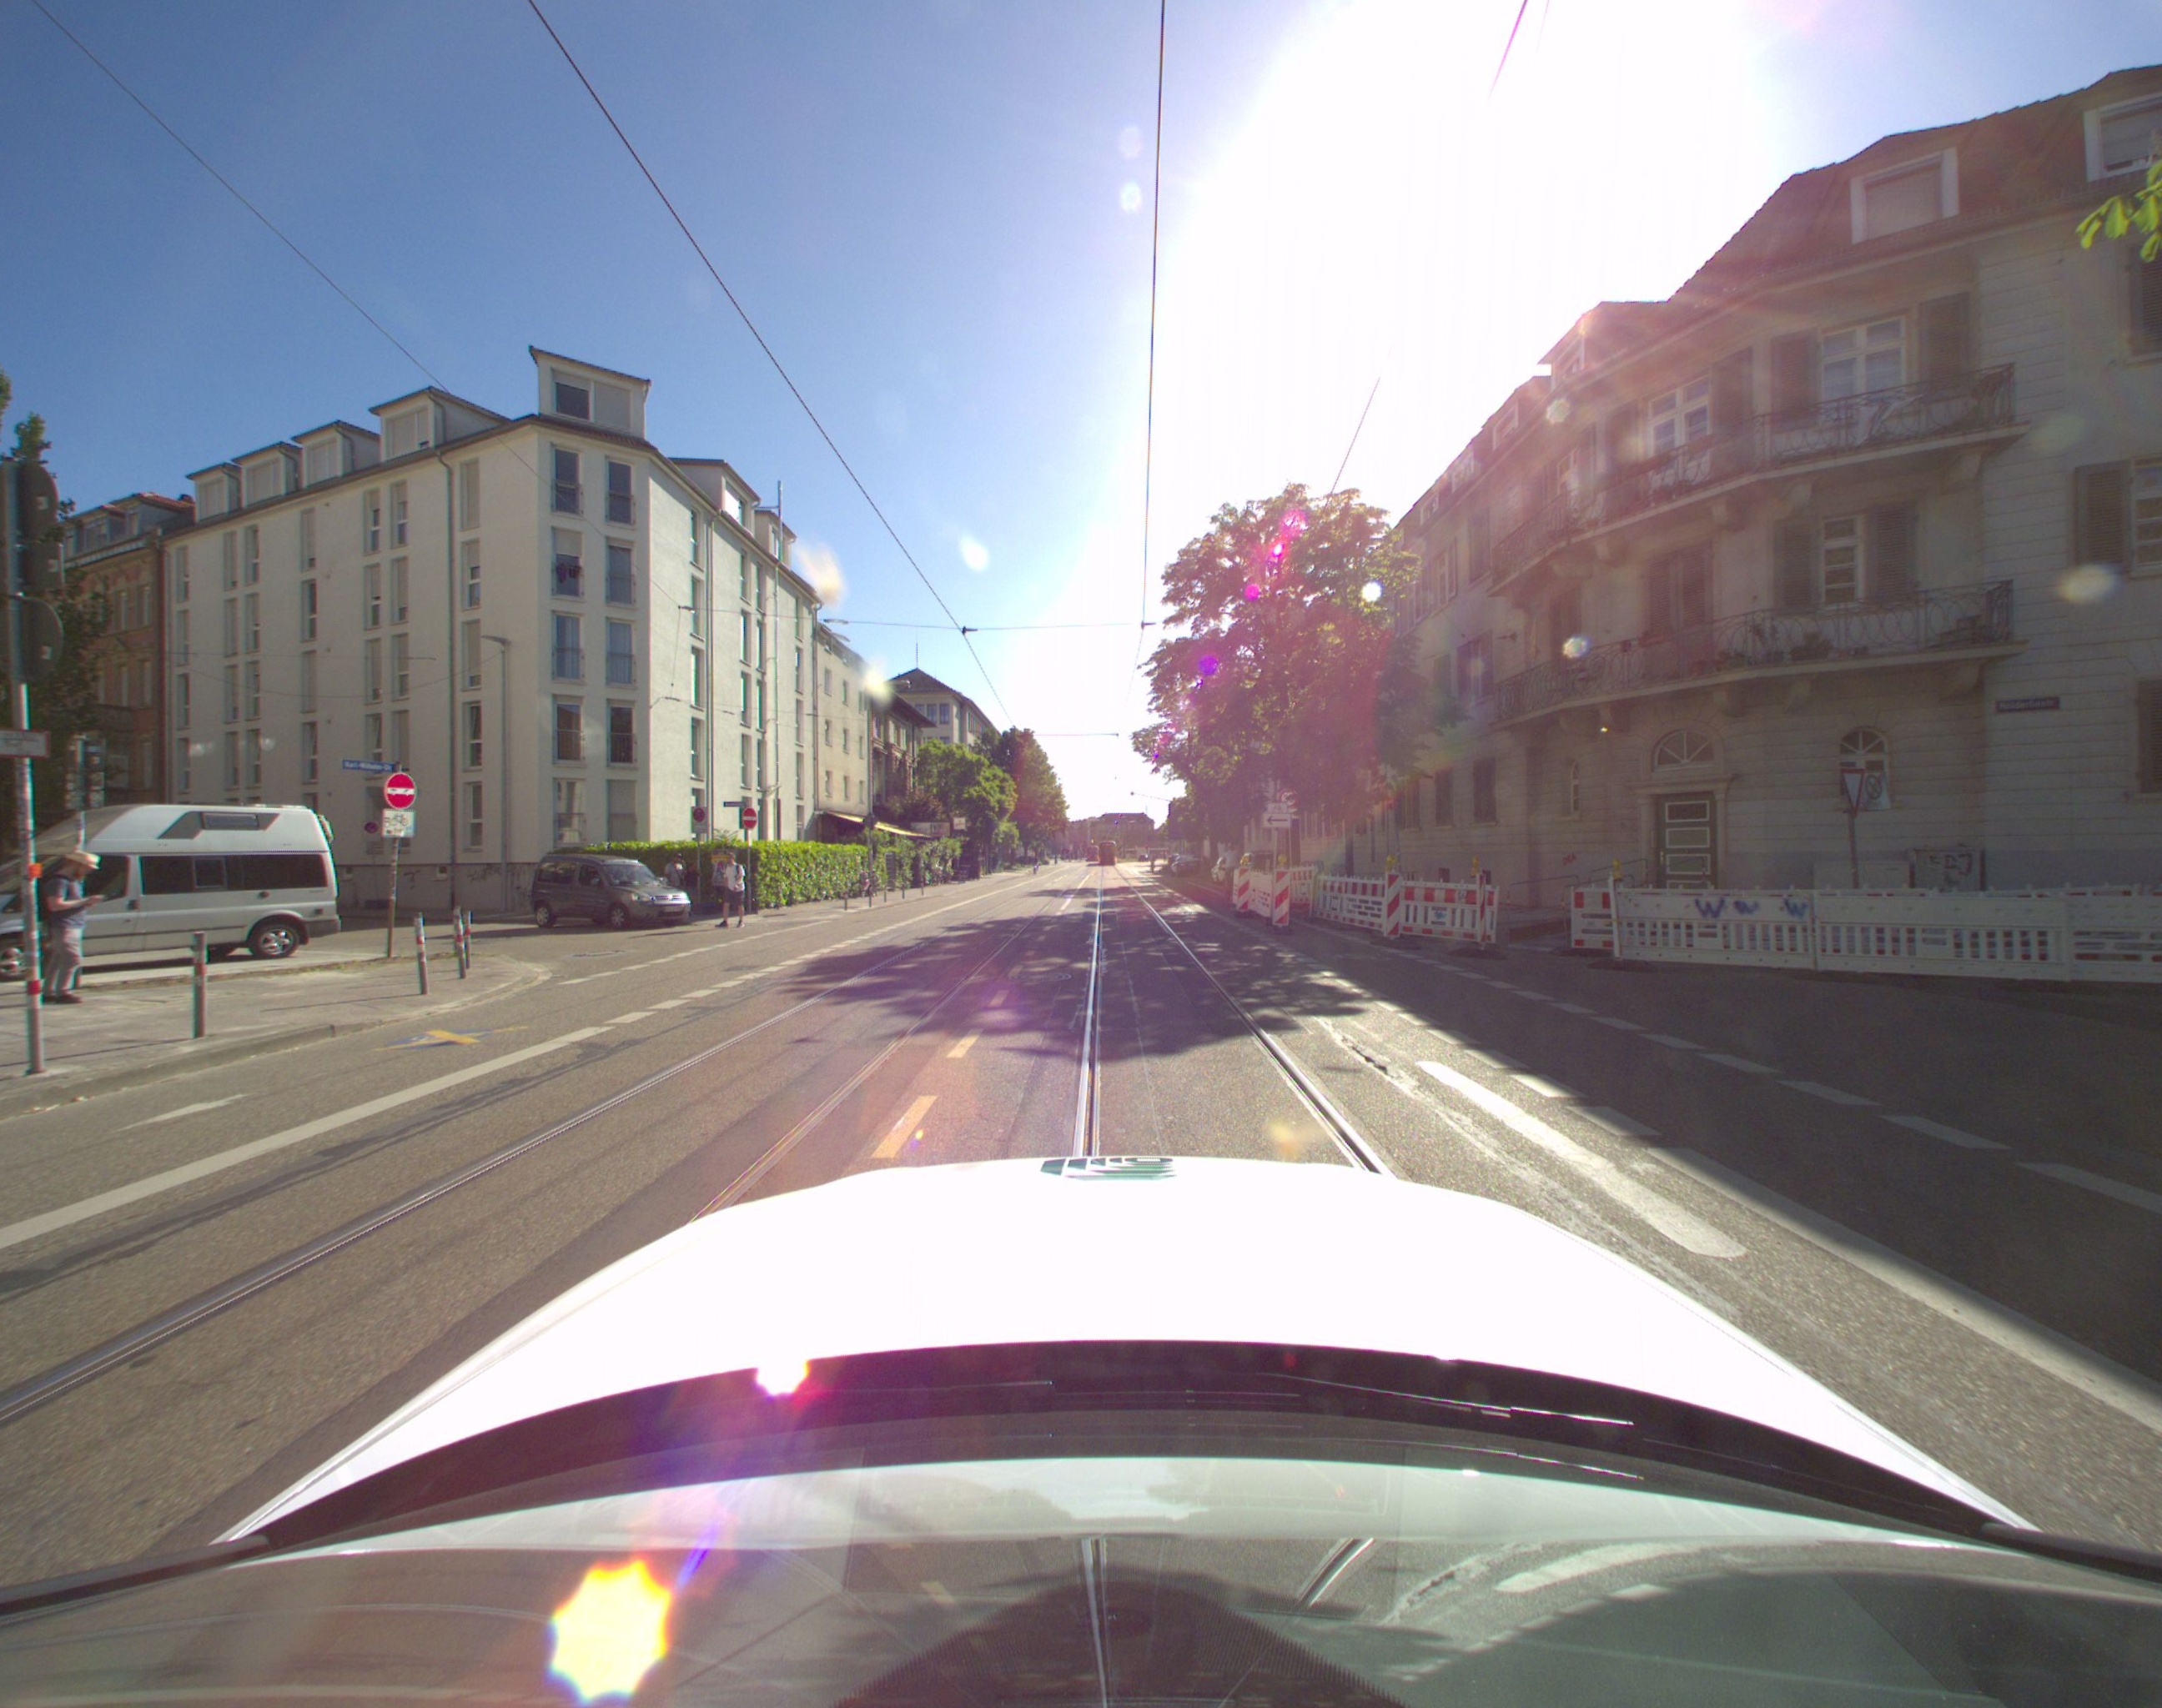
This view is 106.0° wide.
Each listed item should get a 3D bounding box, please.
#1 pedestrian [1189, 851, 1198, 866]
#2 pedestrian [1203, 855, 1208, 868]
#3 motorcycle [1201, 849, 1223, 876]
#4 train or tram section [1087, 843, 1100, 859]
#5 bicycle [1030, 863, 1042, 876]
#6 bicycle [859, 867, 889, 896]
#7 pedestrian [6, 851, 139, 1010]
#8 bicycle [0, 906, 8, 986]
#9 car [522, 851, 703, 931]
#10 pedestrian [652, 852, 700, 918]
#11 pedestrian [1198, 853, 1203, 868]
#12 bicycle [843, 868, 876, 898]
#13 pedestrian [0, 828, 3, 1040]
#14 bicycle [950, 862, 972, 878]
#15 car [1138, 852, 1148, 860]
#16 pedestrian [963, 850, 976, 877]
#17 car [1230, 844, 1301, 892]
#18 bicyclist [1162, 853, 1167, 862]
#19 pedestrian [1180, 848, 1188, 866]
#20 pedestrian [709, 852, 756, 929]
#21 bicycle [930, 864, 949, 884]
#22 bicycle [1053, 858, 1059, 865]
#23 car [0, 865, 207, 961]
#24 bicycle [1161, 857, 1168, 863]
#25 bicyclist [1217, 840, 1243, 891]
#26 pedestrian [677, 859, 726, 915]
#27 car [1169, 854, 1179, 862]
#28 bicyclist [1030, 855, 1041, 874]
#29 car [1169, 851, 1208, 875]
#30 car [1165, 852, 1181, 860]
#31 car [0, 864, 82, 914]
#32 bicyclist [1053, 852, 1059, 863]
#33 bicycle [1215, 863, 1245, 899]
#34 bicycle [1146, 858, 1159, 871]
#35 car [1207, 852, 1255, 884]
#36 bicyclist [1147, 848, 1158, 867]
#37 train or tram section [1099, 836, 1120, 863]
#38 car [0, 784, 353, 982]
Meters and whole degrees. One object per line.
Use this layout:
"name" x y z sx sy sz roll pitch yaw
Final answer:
"pedestrian" 12.848 0.525 92.917 0.853 1.641 0.994 -1 -2 4
"pedestrian" 13.400 0.796 87.535 0.515 1.404 0.765 -1 0 4
"motorcycle" 7.624 0.471 47.570 0.910 1.488 2.681 -3 0 3
"train or tram section" 2.910 -0.751 189.062 2.732 3.651 13.788 -1 0 1
"bicycle" -3.994 1.382 72.461 0.742 1.082 1.900 -4 0 3
"bicycle" -8.363 1.092 32.952 0.659 1.089 1.841 2 -1 2
"pedestrian" -11.176 0.804 9.037 0.697 1.654 0.838 -2 -2 33
"bicycle" -14.807 1.216 10.029 0.702 1.055 1.836 -1 -1 2
"car" -11.599 0.904 20.170 4.005 1.807 1.801 -2 -1 22
"pedestrian" -10.800 0.815 21.736 0.799 1.714 0.761 1 0 21
"pedestrian" 12.846 0.715 87.571 0.515 1.600 0.765 -1 0 4
"bicycle" -8.411 1.080 30.973 0.659 1.089 1.841 2 -1 2
"pedestrian" -9.362 0.672 6.588 0.555 1.781 0.538 -1 0 -2
"bicycle" -8.264 1.116 56.012 0.631 1.045 2.031 -1 0 18
"car" 11.838 0.359 156.402 1.780 1.604 3.719 0 0 6
"pedestrian" -7.667 0.654 55.875 0.570 1.831 0.693 -1 0 20
"car" 6.968 0.494 31.249 1.803 1.626 4.587 -3 0 2
"bicyclist" 16.320 0.598 158.949 0.698 1.700 0.993 2 1 26
"pedestrian" 10.995 0.302 87.042 0.681 1.849 0.955 -2 0 0
"pedestrian" -8.248 0.846 19.301 0.689 1.768 0.867 -1 0 2
"bicycle" -7.861 1.086 45.232 0.636 1.059 1.744 2 0 3
"bicycle" -4.040 1.187 132.733 0.683 1.124 1.934 -3 0 6
"car" -20.137 1.121 16.250 1.436 1.752 3.360 -1 -2 21
"bicycle" 16.302 1.164 158.946 0.698 1.055 2.327 2 1 26
"bicyclist" 4.954 0.378 27.156 0.735 1.686 0.973 1 0 3
"pedestrian" -10.442 0.895 22.418 0.945 1.478 0.761 1 0 21
"car" 17.893 0.778 157.316 1.781 1.511 3.717 0 0 4
"bicyclist" -4.023 0.947 72.467 0.742 1.599 1.118 -4 0 3
"car" 7.290 0.569 55.594 1.817 1.458 4.815 -3 0 -2
"car" 20.197 0.359 178.746 1.685 1.643 3.736 1 0 37
"car" -42.932 1.414 33.093 3.952 1.960 1.825 -2 -1 22
"bicyclist" -4.072 0.566 132.718 0.683 1.644 1.239 -3 0 6
"bicycle" 4.949 0.877 27.166 0.735 1.094 2.113 1 0 4
"bicycle" 6.614 0.961 75.086 0.699 1.104 1.726 1 1 21
"car" 7.213 0.635 39.419 1.716 1.382 4.360 -3 0 3
"bicyclist" 6.612 0.308 75.049 0.699 1.675 1.107 1 0 21
"train or tram section" 4.077 -0.663 119.430 2.732 3.651 13.788 -1 0 1
"car" -15.765 0.460 13.793 1.871 2.841 4.806 -1 -1 18
